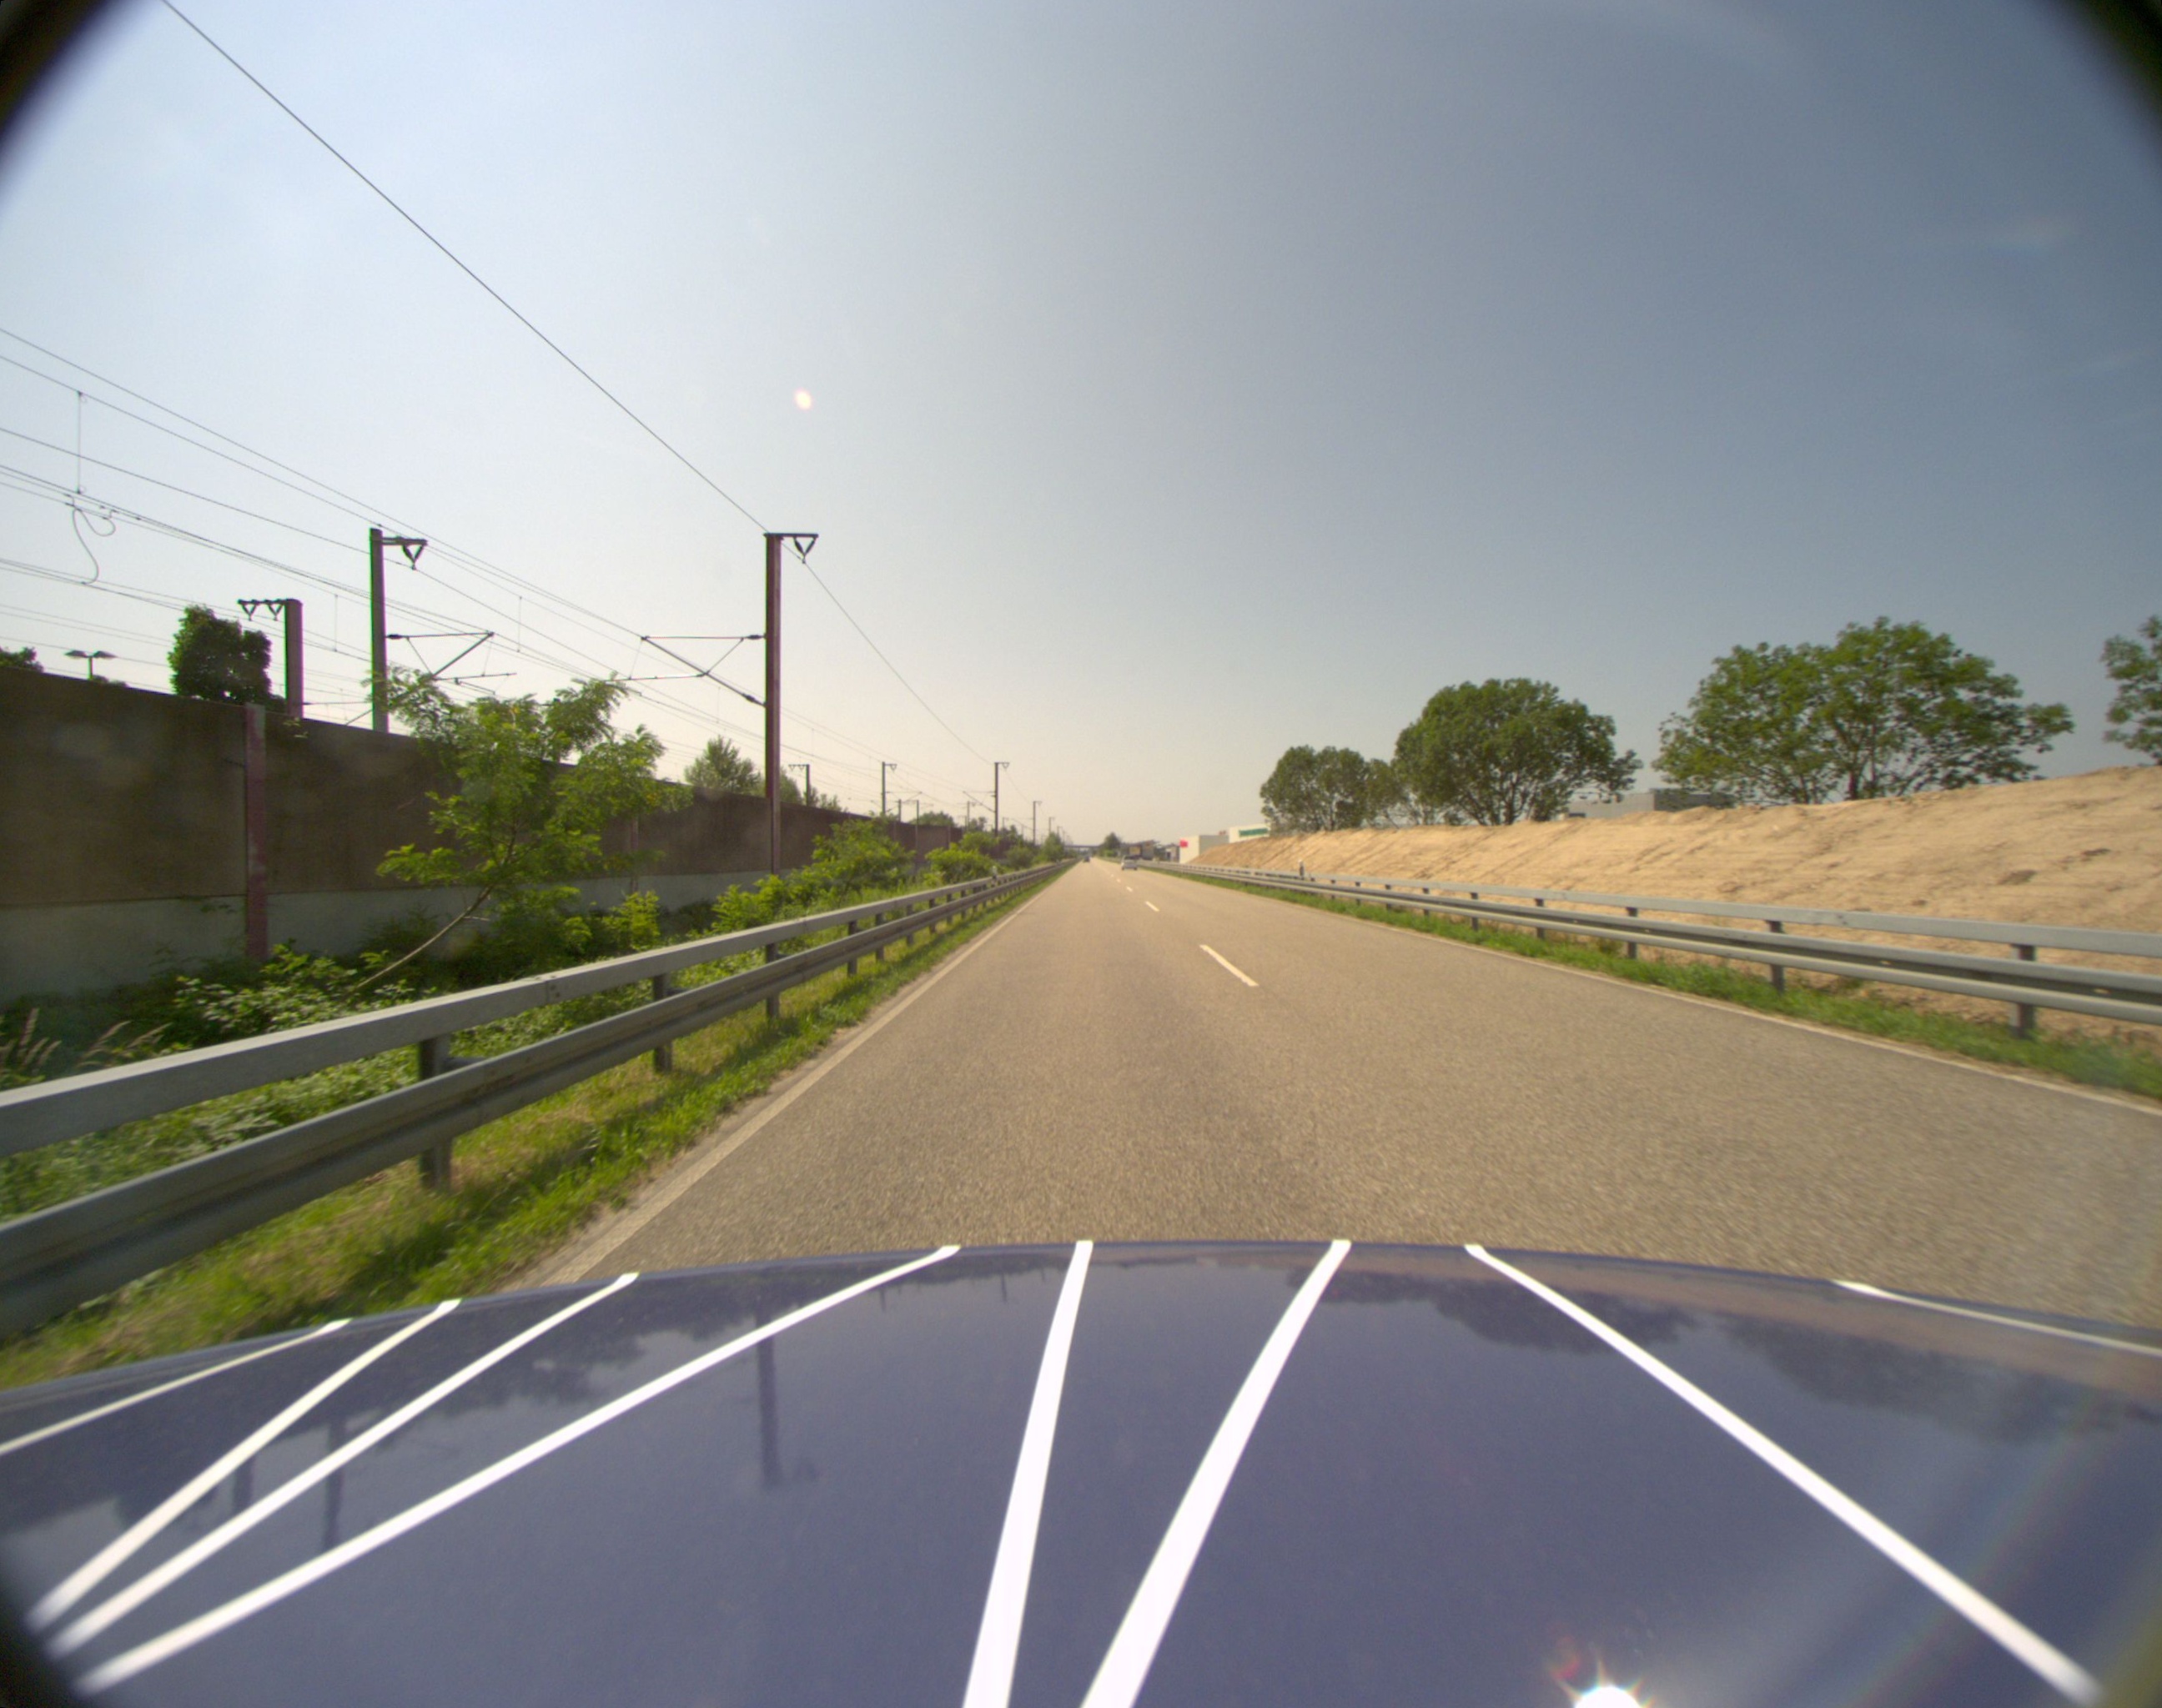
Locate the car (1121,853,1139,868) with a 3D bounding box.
[{"bbox_3d":[5.156,0.657,79.699,1.599,1.567,3.828,-1,0,0],"label":"car"}]

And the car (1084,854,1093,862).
[{"bbox_3d":[1.779,1.014,189.948,1.999,2.002,3.999,-1,0,-1],"label":"car"}]
